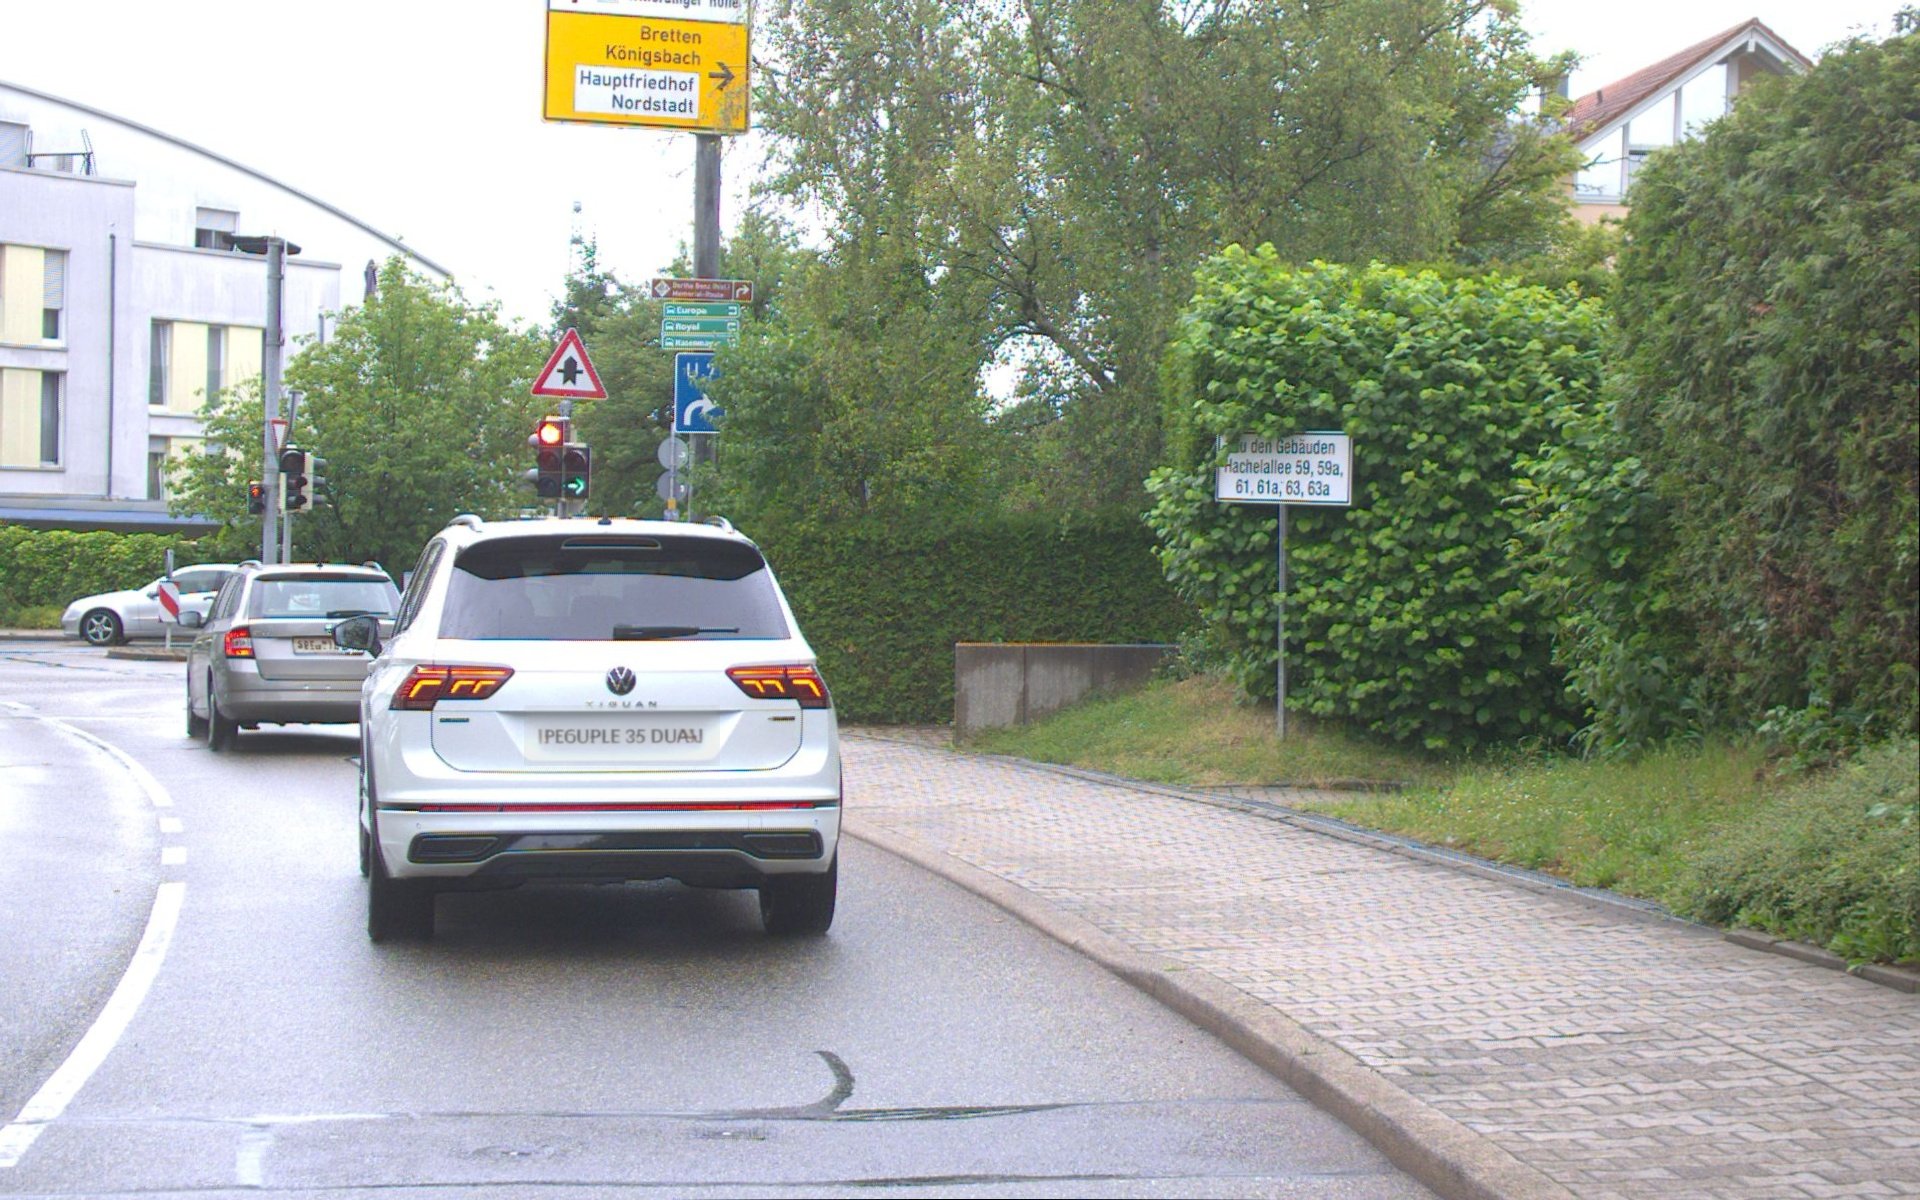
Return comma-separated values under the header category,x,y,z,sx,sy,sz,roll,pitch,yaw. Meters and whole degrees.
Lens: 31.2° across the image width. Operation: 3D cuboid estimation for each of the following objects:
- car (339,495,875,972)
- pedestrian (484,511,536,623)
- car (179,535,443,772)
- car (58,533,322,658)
category,x,y,z,sx,sy,sz,roll,pitch,yaw
car,-1.654,0.459,14.629,1.920,1.716,4.266,1,1,-10
pedestrian,-8.229,-0.610,62.824,0.799,2.006,0.850,-1,4,-17
car,-5.285,0.373,27.636,1.764,1.504,4.002,3,3,-14
car,-12.999,-0.093,58.236,3.986,1.752,2.001,4,3,-3
